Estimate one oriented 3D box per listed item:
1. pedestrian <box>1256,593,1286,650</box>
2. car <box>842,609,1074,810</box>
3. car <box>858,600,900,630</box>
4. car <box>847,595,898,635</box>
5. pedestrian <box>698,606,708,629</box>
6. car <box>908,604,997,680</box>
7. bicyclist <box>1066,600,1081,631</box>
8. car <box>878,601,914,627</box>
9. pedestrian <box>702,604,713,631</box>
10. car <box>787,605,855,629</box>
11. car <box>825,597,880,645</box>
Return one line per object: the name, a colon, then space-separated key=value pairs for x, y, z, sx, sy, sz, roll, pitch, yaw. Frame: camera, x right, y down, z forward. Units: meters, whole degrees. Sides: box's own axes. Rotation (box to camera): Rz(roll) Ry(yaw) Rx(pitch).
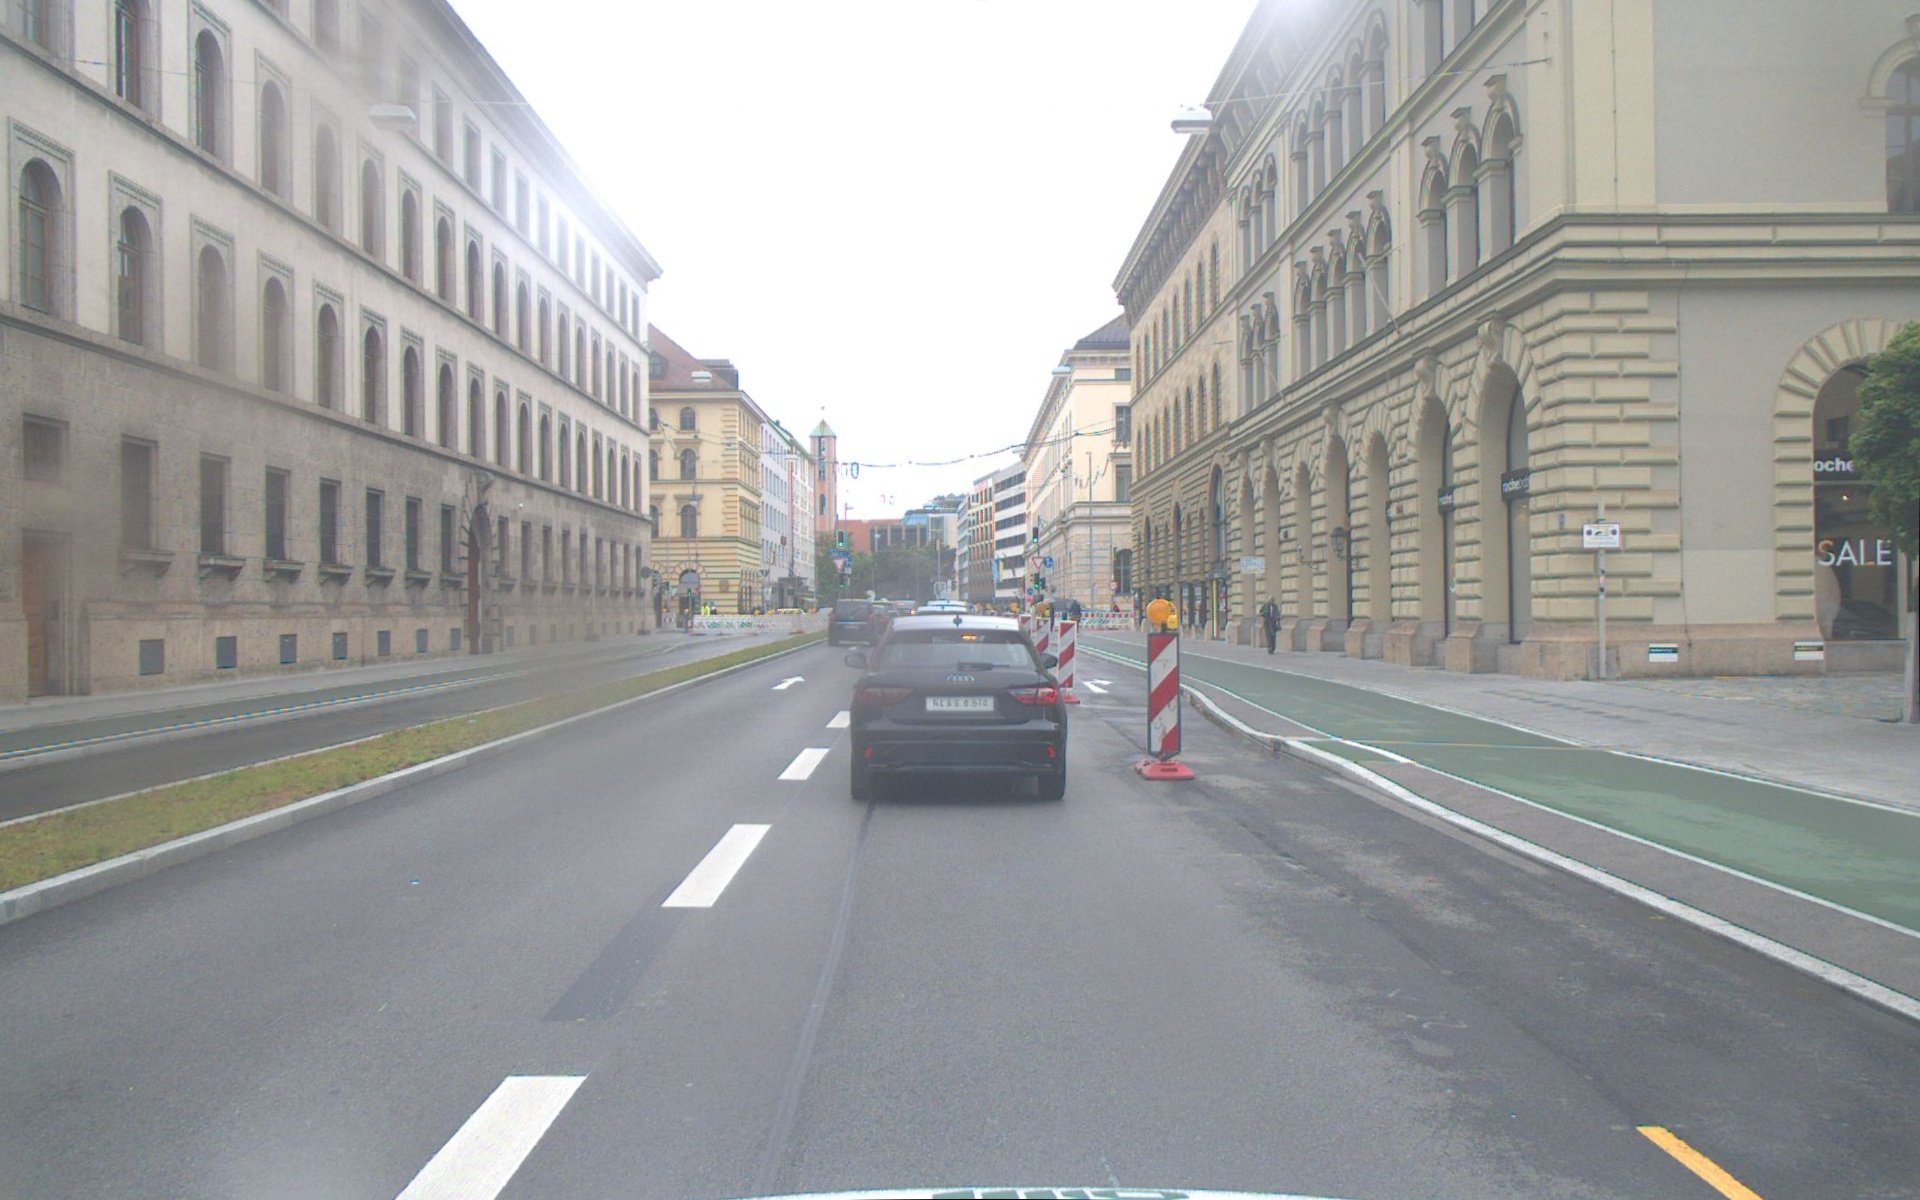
pedestrian: x=8.988 y=0.615 z=47.789 sx=0.695 sy=1.646 sz=0.754 roll=-1 pitch=0 yaw=-1
car: x=-0.038 y=0.816 z=14.149 sx=1.695 sy=1.427 sz=3.999 roll=1 pitch=0 yaw=-1
car: x=-4.038 y=0.747 z=83.044 sx=1.953 sy=1.469 sz=4.000 roll=-1 pitch=0 yaw=0
car: x=-3.729 y=0.635 z=71.143 sx=1.953 sy=1.656 sz=4.000 roll=-1 pitch=0 yaw=0
pedestrian: x=-19.003 y=1.278 z=122.190 sx=0.642 sy=1.722 sz=0.727 roll=-1 pitch=0 yaw=-1
car: x=-0.169 y=0.818 z=34.085 sx=1.695 sy=1.427 sz=3.999 roll=1 pitch=0 yaw=-1
bicyclist: x=5.571 y=0.749 z=80.969 sx=0.695 sy=1.526 sz=0.754 roll=-1 pitch=0 yaw=1
car: x=-3.678 y=0.810 z=95.397 sx=1.953 sy=1.469 sz=4.000 roll=-1 pitch=0 yaw=0
pedestrian: x=-17.264 y=1.163 z=113.229 sx=0.642 sy=1.836 sz=0.727 roll=-1 pitch=0 yaw=-1
car: x=-8.363 y=1.005 z=99.517 sx=3.755 sy=1.422 sz=1.749 roll=-1 pitch=0 yaw=-19
car: x=-3.807 y=0.728 z=59.126 sx=1.729 sy=1.644 sz=4.029 roll=1 pitch=0 yaw=-1
